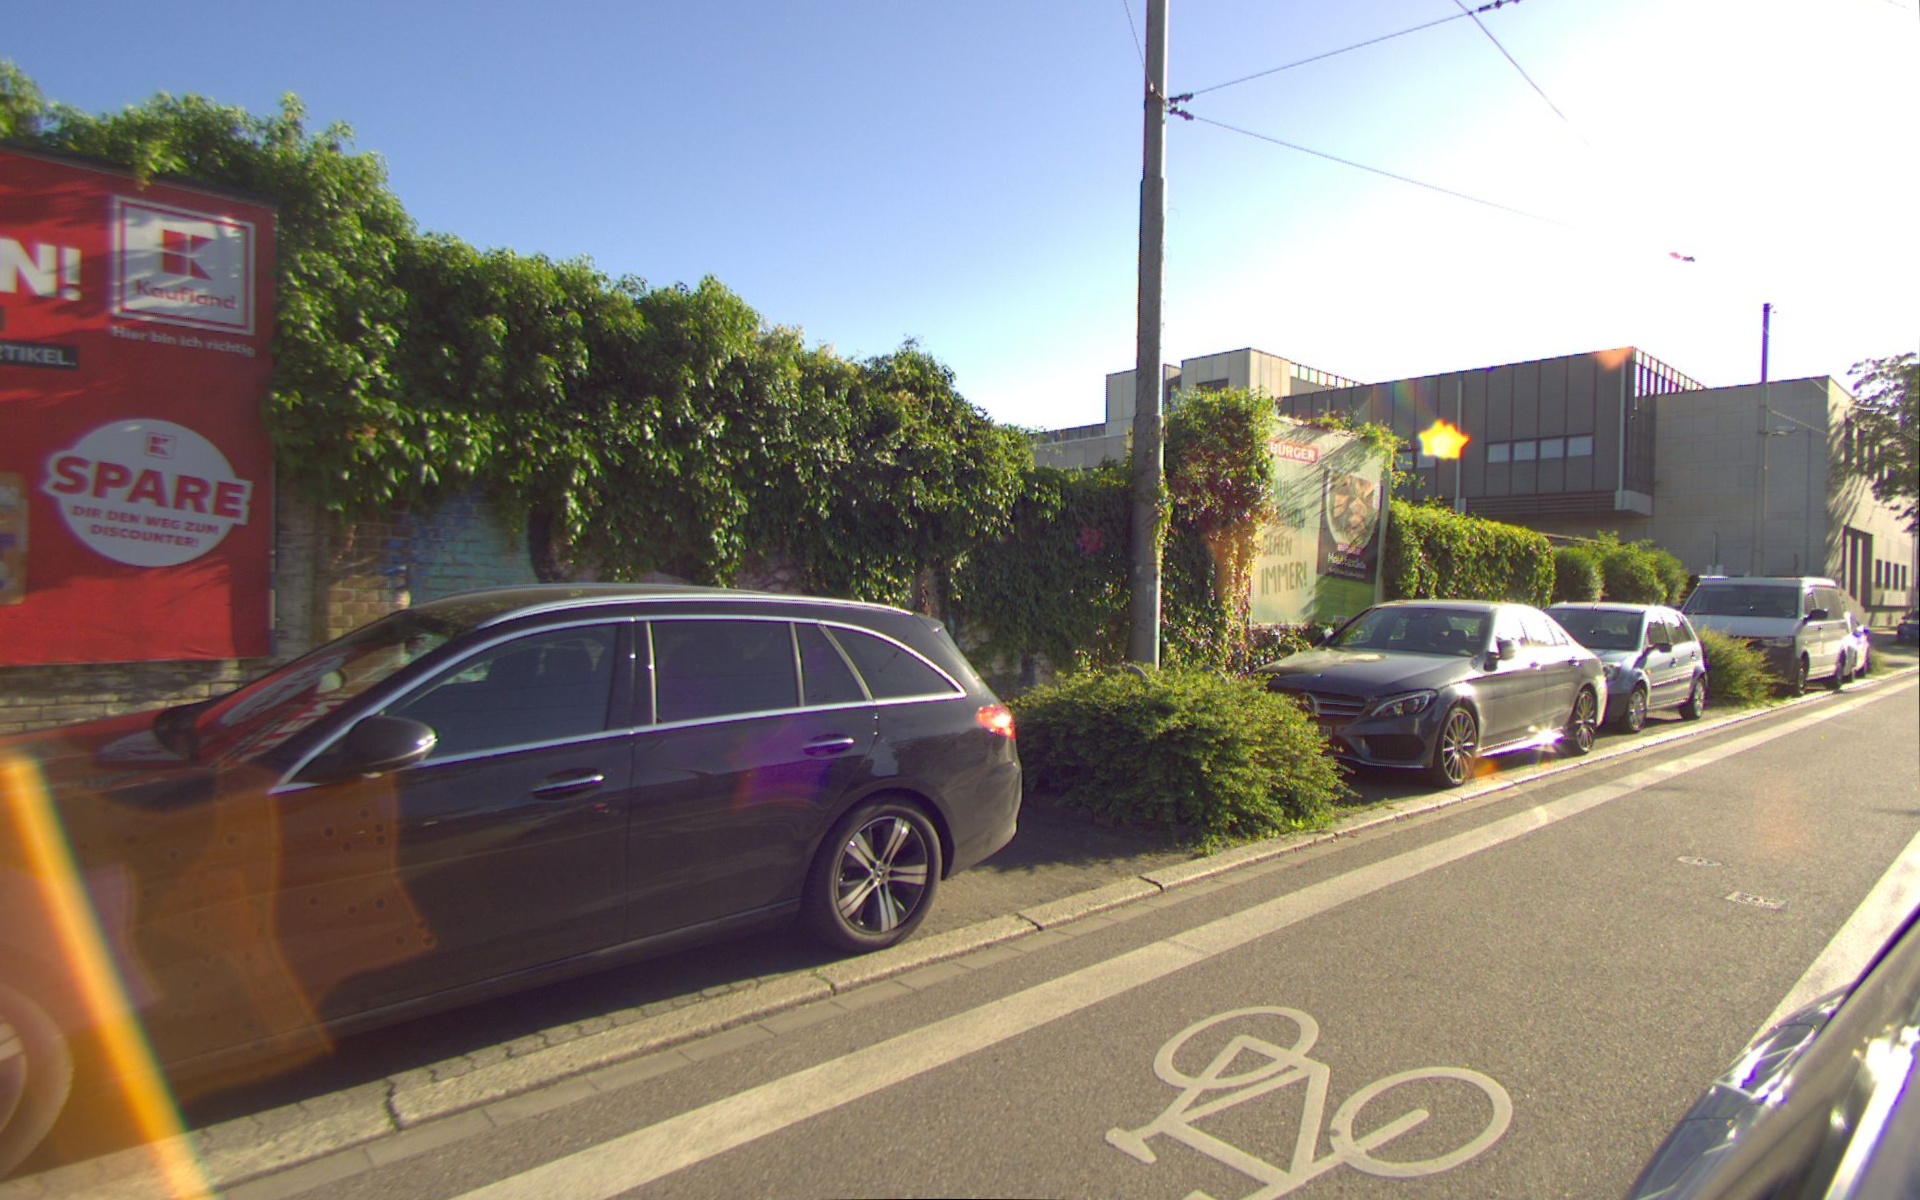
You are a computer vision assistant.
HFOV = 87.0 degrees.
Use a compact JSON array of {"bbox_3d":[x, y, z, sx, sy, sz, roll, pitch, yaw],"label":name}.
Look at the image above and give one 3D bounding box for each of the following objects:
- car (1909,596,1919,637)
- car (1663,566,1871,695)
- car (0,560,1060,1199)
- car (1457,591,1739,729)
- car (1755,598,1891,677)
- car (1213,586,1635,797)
[{"bbox_3d":[37.290,0.648,38.160,4.577,1.499,1.706,0,4,-41],"label":"car"},{"bbox_3d":[14.602,0.441,18.199,5.148,2.016,1.858,0,2,-39],"label":"car"},{"bbox_3d":[-1.871,0.615,3.809,4.560,1.470,1.828,0,2,-40],"label":"car"},{"bbox_3d":[8.213,0.627,12.915,4.002,1.491,1.877,0,0,-39],"label":"car"},{"bbox_3d":[18.648,0.721,21.807,4.426,1.435,1.678,0,3,-43],"label":"car"},{"bbox_3d":[4.466,0.632,9.397,4.520,1.503,1.828,0,0,-40],"label":"car"}]
